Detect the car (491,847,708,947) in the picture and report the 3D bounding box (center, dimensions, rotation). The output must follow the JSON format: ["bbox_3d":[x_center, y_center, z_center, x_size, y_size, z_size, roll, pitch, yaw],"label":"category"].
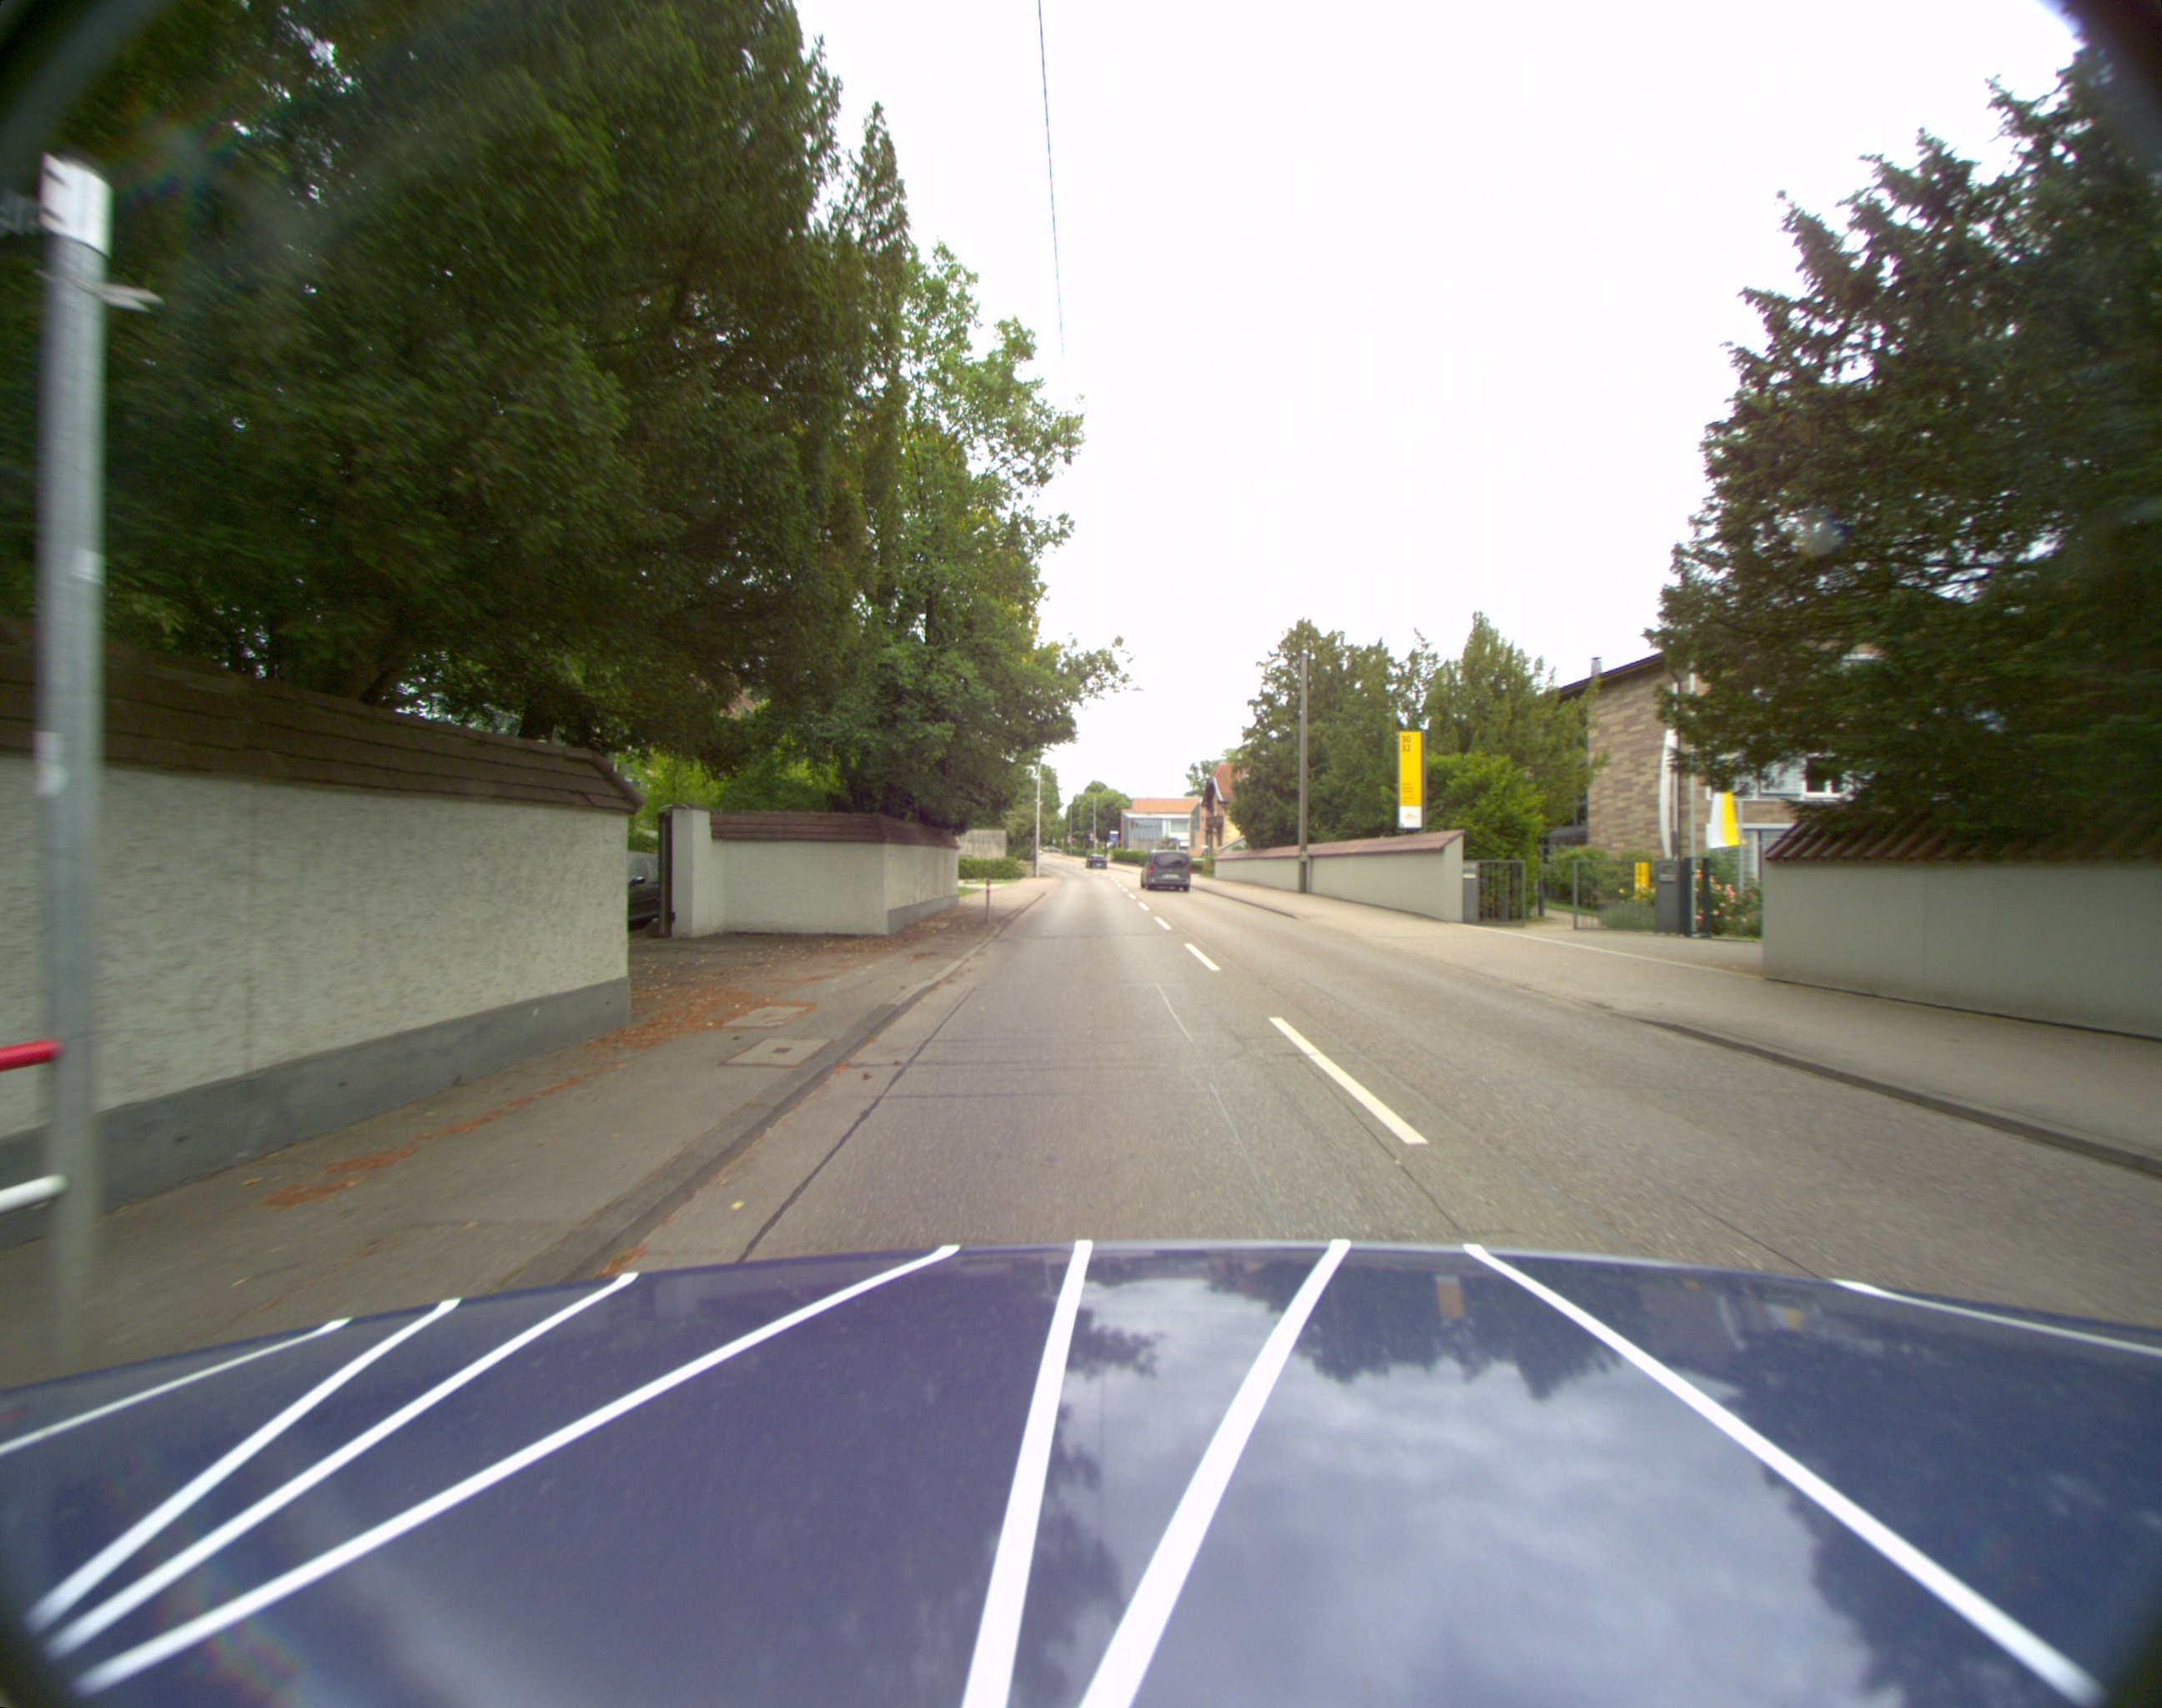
[{"bbox_3d":[-8.832,0.691,14.413,1.756,1.478,3.997,5,0,-5],"label":"car"}]

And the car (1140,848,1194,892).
[{"bbox_3d":[3.975,0.683,35.793,1.895,1.845,5.082,2,0,0],"label":"car"}]

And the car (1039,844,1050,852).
[{"bbox_3d":[-7.686,-1.268,161.215,2.000,1.701,3.997,0,1,-7],"label":"car"}]

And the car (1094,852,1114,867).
[{"bbox_3d":[2.316,0.512,76.226,1.790,1.420,3.999,1,0,-2],"label":"car"}]
